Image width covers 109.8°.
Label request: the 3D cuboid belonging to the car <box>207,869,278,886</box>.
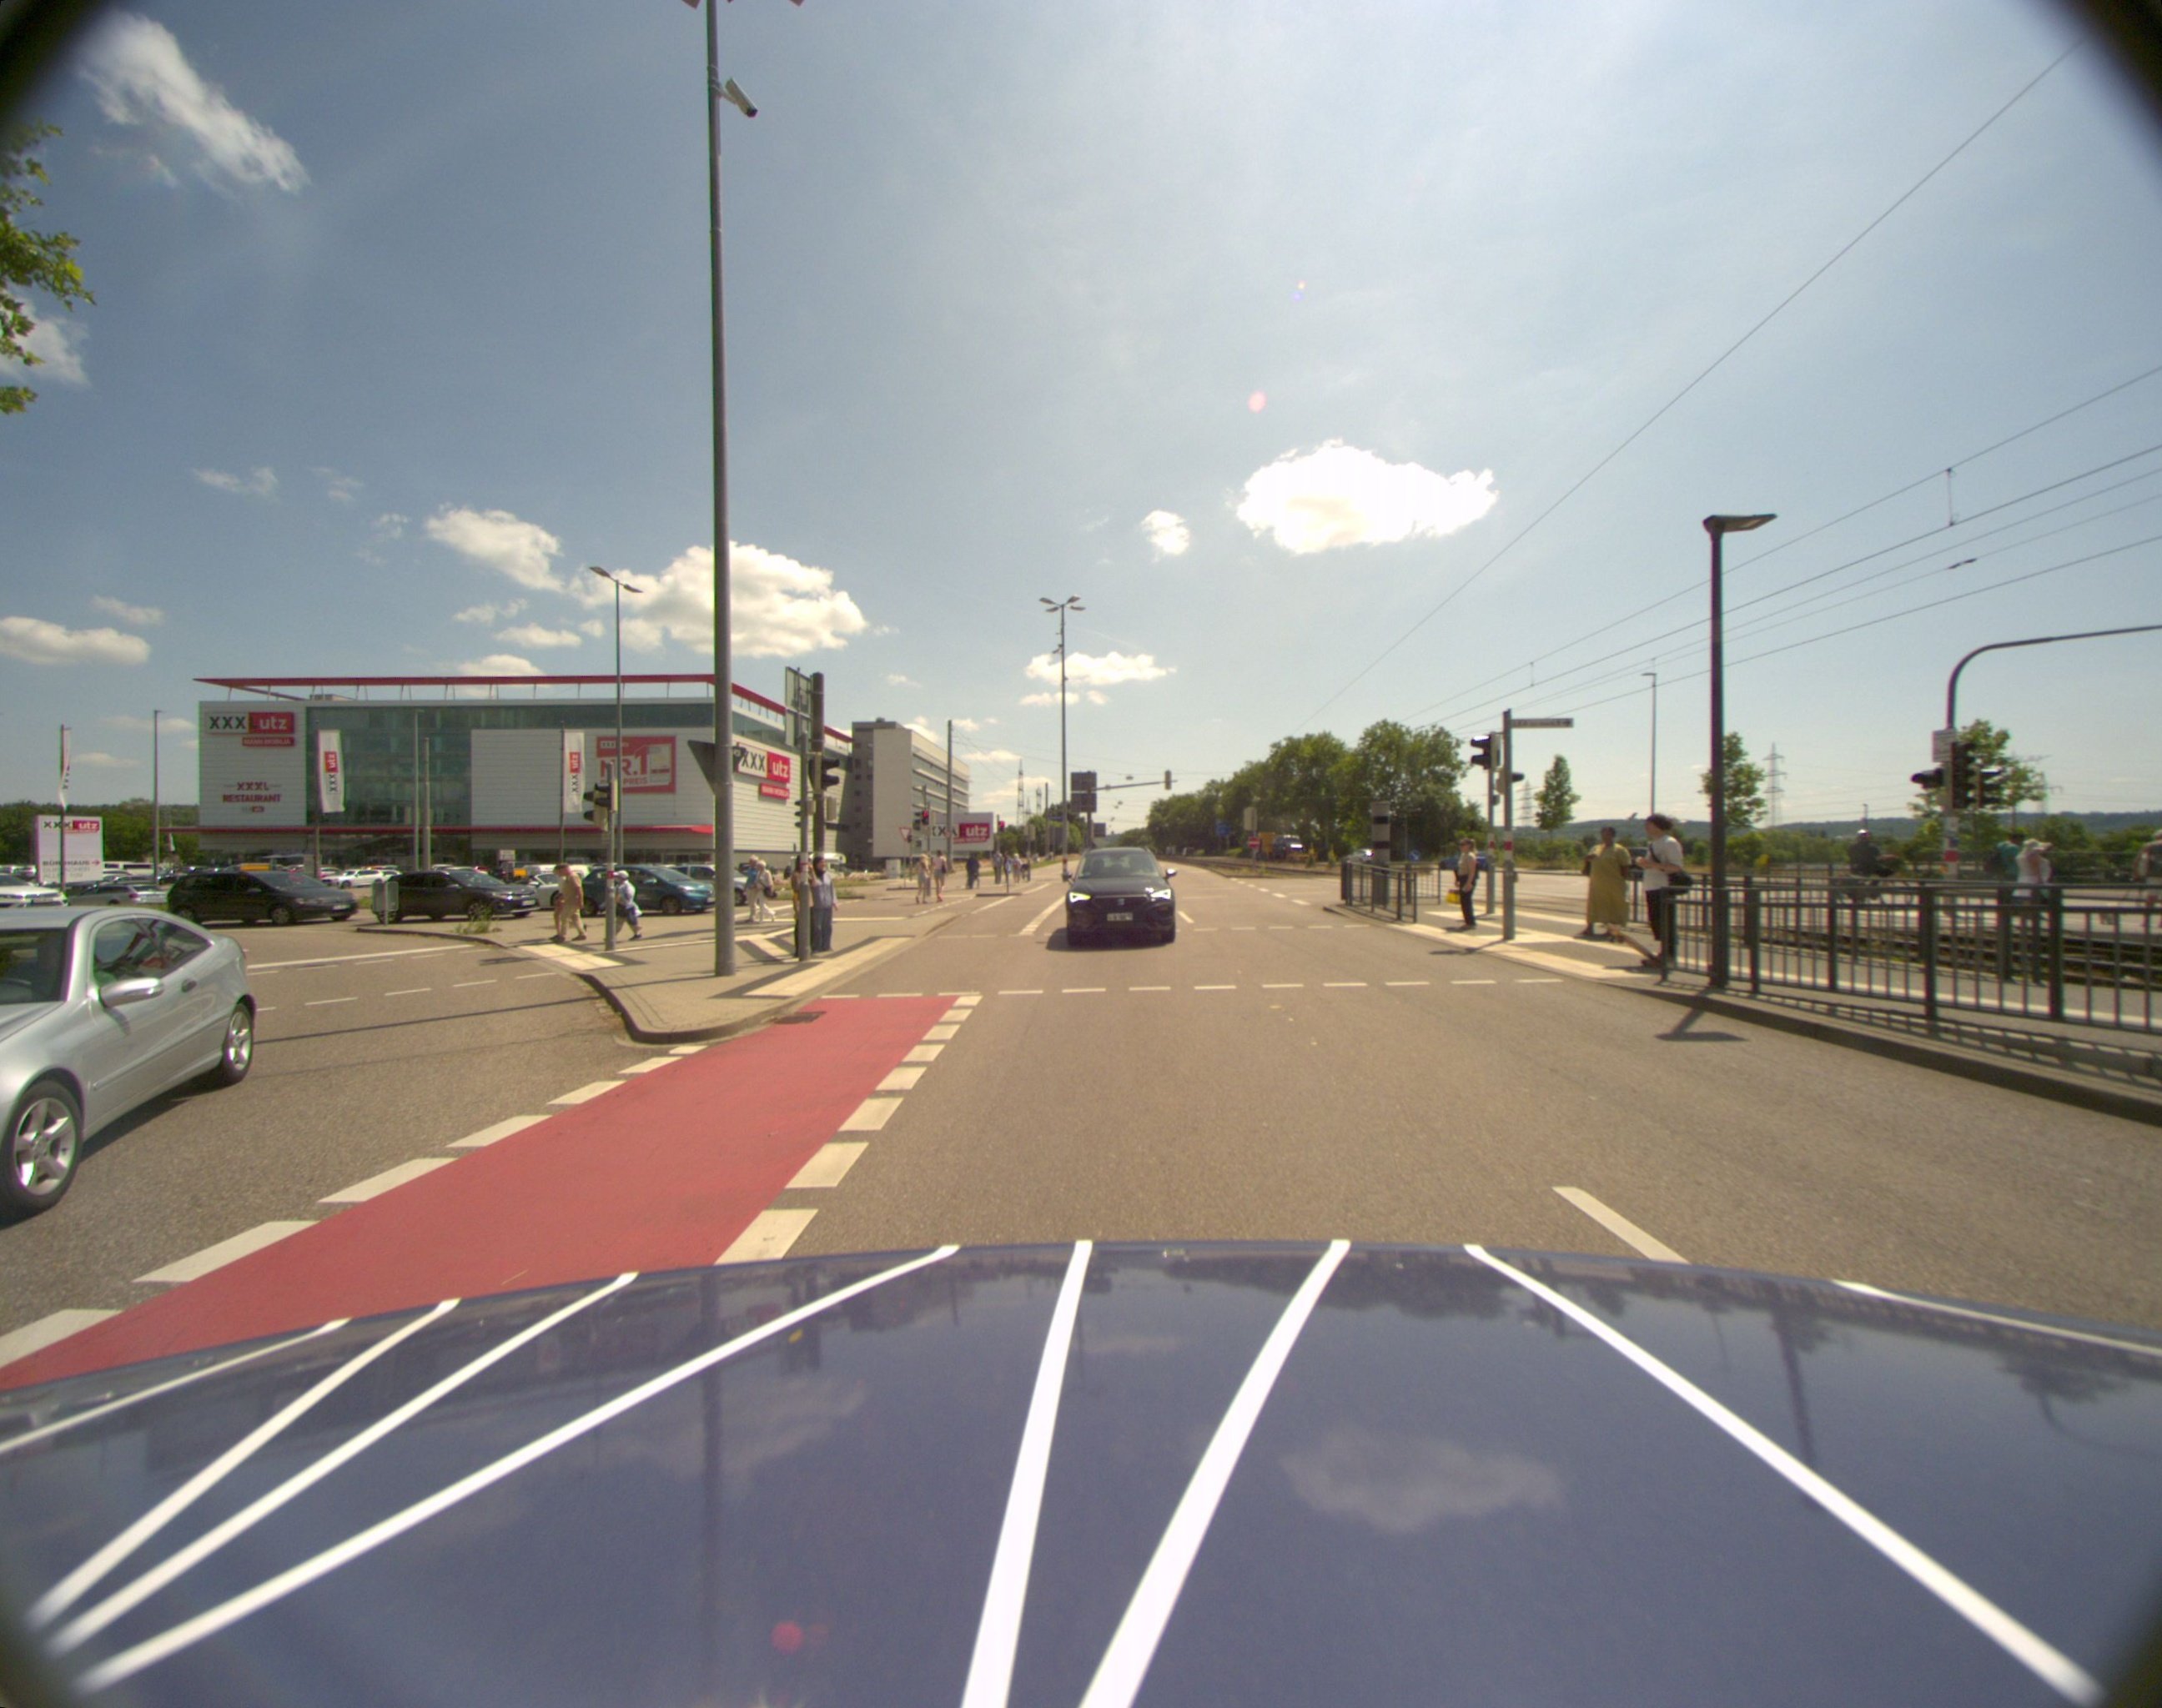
[{"bbox_3d":[-79.550,2.238,72.185,1.858,1.404,4.257,-1,0,5],"label":"car"}]

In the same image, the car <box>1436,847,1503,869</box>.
[{"bbox_3d":[26.660,0.266,52.269,2.000,1.436,4.347,-1,0,-7],"label":"car"}]

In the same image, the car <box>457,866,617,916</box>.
[{"bbox_3d":[-18.314,1.222,25.691,4.227,1.390,1.804,-2,3,8],"label":"car"}]

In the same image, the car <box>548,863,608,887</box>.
[{"bbox_3d":[-47.367,1.905,71.722,1.998,2.002,4.966,-2,1,4],"label":"car"}]

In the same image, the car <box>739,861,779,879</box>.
[{"bbox_3d":[-34.550,1.742,81.672,1.998,1.707,4.503,-2,1,4],"label":"car"}]

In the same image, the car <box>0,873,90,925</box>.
[{"bbox_3d":[-36.802,1.525,25.676,4.078,1.630,2.000,-1,0,2],"label":"car"}]

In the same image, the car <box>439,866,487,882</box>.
[{"bbox_3d":[-66.905,2.111,82.337,1.693,1.518,4.000,-2,1,2],"label":"car"}]

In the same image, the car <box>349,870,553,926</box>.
[{"bbox_3d":[-18.355,1.266,22.290,4.411,1.435,1.853,-1,1,0],"label":"car"}]

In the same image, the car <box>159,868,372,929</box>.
[{"bbox_3d":[-24.056,1.295,22.514,4.410,1.575,1.863,-2,1,4],"label":"car"}]

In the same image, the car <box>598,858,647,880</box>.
[{"bbox_3d":[-43.110,1.405,71.561,1.589,1.901,4.489,-1,0,5],"label":"car"}]

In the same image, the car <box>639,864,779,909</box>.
[{"bbox_3d":[-12.522,1.080,25.750,3.833,1.389,1.804,-1,0,2],"label":"car"}]

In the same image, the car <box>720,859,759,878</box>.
[{"bbox_3d":[-36.946,1.520,82.316,1.998,1.884,4.520,-2,1,3],"label":"car"}]

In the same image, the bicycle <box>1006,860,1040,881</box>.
[{"bbox_3d":[-3.199,0.924,42.063,1.874,1.155,0.833,-2,-1,45],"label":"bicycle"}]

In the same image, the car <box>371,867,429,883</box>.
[{"bbox_3d":[-66.989,2.033,74.854,1.852,1.430,4.001,-2,0,6],"label":"car"}]

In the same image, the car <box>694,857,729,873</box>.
[{"bbox_3d":[-47.645,1.345,98.097,1.998,1.911,4.520,-2,1,3],"label":"car"}]

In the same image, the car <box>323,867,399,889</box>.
[{"bbox_3d":[-64.873,2.123,68.592,1.852,1.692,4.871,-2,0,6],"label":"car"}]

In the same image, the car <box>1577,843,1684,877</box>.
[{"bbox_3d":[28.360,0.283,39.404,2.000,1.620,4.305,-1,0,-9],"label":"car"}]

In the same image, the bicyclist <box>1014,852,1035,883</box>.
[{"bbox_3d":[-3.124,0.718,42.050,0.797,1.691,0.818,-1,0,41],"label":"bicyclist"}]

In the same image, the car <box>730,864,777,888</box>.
[{"bbox_3d":[-30.138,1.978,70.087,1.998,2.002,4.454,-1,0,5],"label":"car"}]

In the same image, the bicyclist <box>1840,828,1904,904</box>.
[{"bbox_3d":[17.346,0.249,16.663,0.666,1.606,0.732,-2,1,-15],"label":"bicyclist"}]

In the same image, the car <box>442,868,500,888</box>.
[{"bbox_3d":[-53.302,2.090,66.463,1.853,1.537,3.999,-2,0,-2],"label":"car"}]

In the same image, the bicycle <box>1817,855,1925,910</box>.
[{"bbox_3d":[17.276,0.611,16.626,1.979,1.094,0.763,-2,1,-14],"label":"bicycle"}]

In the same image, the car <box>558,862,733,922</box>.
[{"bbox_3d":[-12.814,1.084,22.557,3.996,1.547,2.000,-2,1,3],"label":"car"}]

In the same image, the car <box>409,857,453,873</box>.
[{"bbox_3d":[-85.880,1.409,100.396,1.849,2.002,4.287,-2,1,4],"label":"car"}]

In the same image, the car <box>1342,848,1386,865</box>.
[{"bbox_3d":[25.403,0.191,68.349,2.000,1.455,4.275,-1,0,-8],"label":"car"}]

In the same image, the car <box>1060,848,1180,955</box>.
[{"bbox_3d":[0.677,0.732,13.835,1.819,1.583,4.000,-2,1,2],"label":"car"}]

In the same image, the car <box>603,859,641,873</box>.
[{"bbox_3d":[-58.777,1.489,97.402,1.998,1.683,4.519,-2,1,1],"label":"car"}]

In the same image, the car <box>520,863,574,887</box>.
[{"bbox_3d":[-50.018,1.938,71.256,1.998,2.002,4.000,-2,1,4],"label":"car"}]

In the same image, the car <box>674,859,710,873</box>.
[{"bbox_3d":[-50.044,1.545,97.807,1.998,1.683,4.520,-2,1,3],"label":"car"}]

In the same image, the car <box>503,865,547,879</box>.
[{"bbox_3d":[-60.328,1.923,82.504,1.693,1.302,4.000,-2,1,2],"label":"car"}]

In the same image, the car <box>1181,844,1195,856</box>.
[{"bbox_3d":[20.396,-0.703,144.843,1.998,1.825,4.438,3,-5,3],"label":"car"}]

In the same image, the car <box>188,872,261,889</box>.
[{"bbox_3d":[-81.669,2.476,72.539,1.858,1.404,4.257,-1,1,5],"label":"car"}]

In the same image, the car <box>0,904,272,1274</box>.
[{"bbox_3d":[-6.259,1.138,4.042,1.735,1.410,4.310,-3,1,-34],"label":"car"}]
